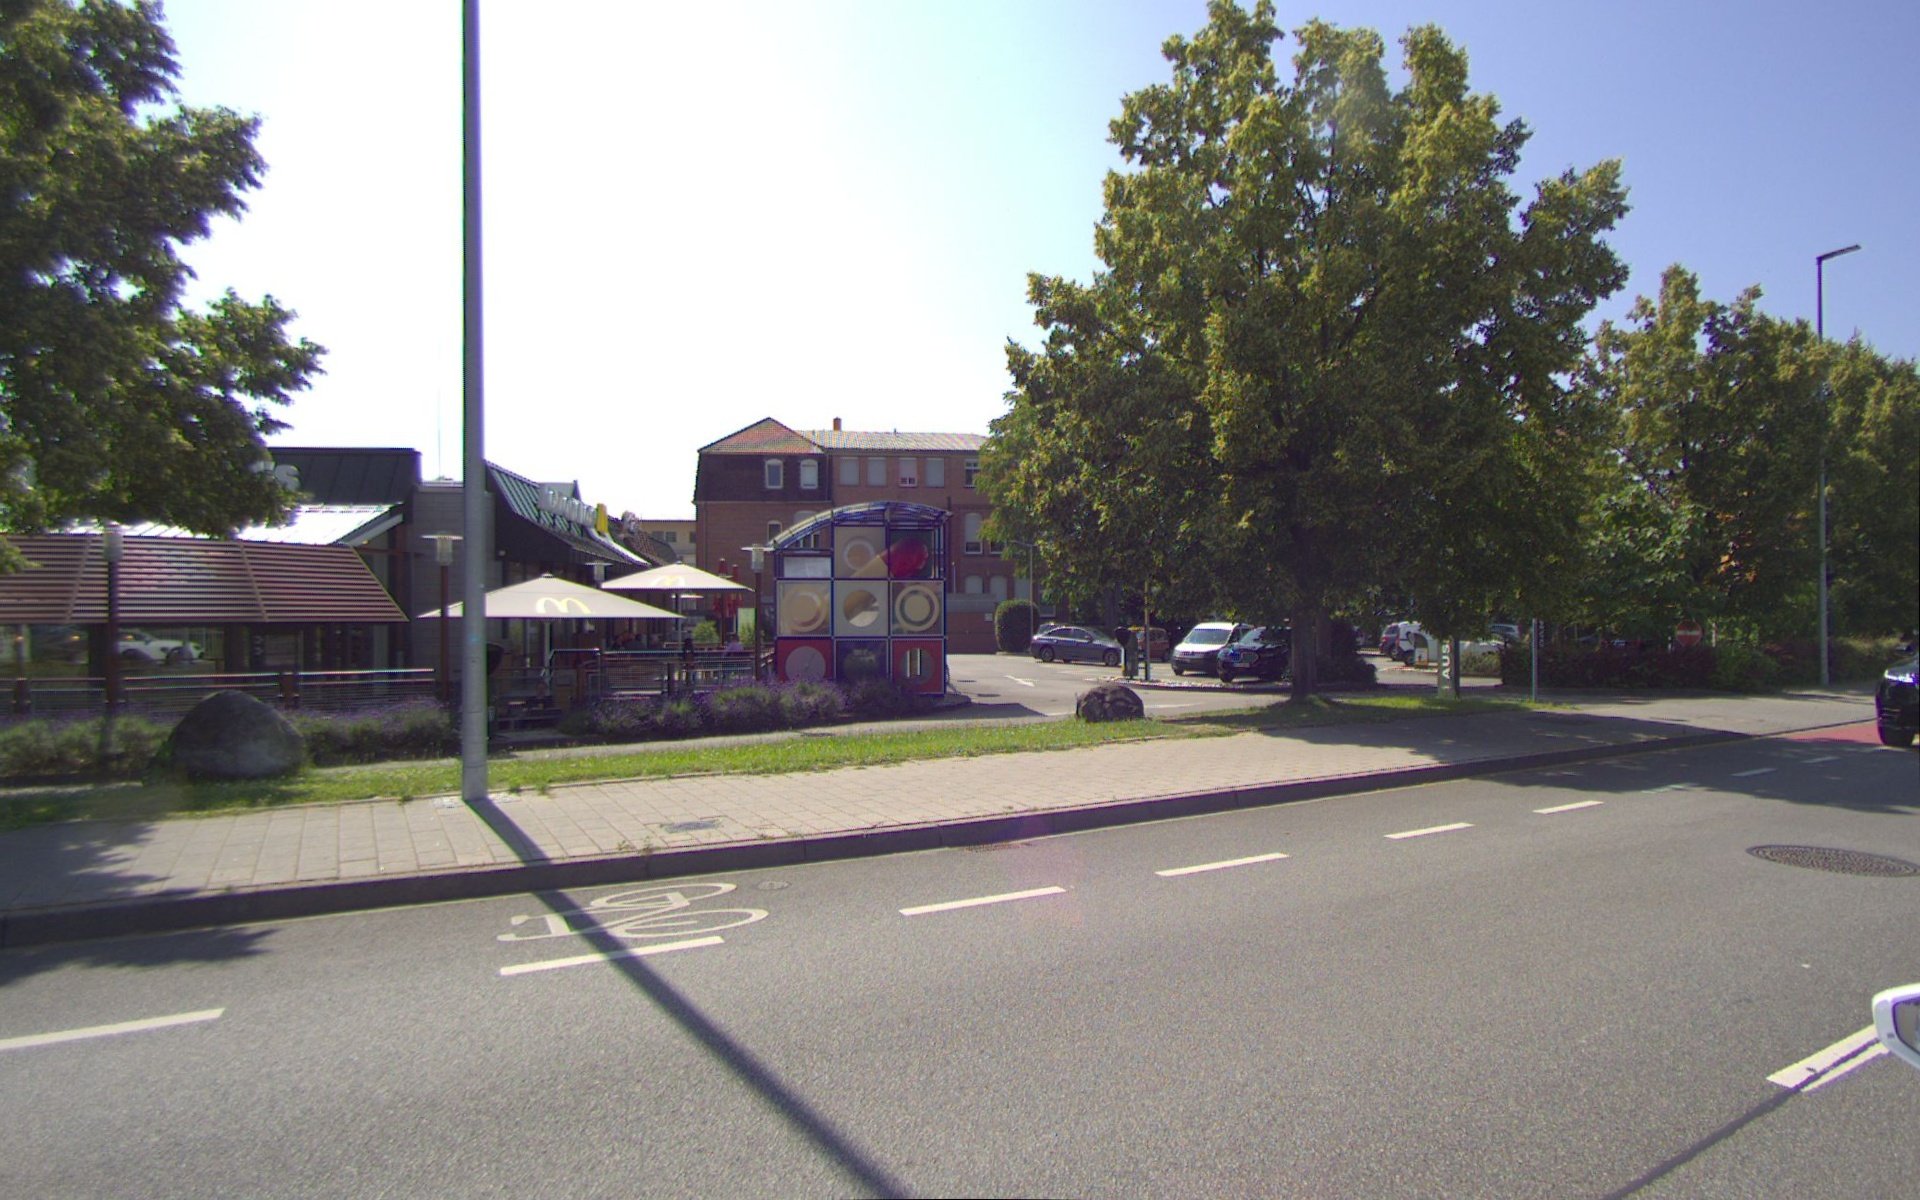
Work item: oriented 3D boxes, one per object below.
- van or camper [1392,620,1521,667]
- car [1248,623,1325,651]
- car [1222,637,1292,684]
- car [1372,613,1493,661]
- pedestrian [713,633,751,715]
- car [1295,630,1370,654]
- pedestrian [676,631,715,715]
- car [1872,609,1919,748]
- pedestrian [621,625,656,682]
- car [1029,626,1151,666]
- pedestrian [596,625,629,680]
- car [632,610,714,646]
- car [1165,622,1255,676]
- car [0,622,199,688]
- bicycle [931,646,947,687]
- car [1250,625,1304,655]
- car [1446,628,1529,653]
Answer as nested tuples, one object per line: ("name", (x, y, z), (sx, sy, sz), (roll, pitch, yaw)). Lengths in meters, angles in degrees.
("van or camper", (19.555, 1.696, 39.630), (4.219, 1.763, 1.991), (-1, -2, 39))
("car", (19.151, 2.159, 59.046), (3.946, 1.619, 1.788), (-2, -2, 44))
("car", (9.310, 1.836, 31.266), (1.578, 1.303, 3.998), (-1, -1, 24))
("car", (21.109, 1.635, 44.954), (4.666, 2.040, 2.079), (-1, -2, 33))
("pedestrian", (-5.784, 1.852, 25.456), (0.744, 2.040, 0.829), (0, -1, -30))
("car", (22.191, 2.495, 59.892), (3.932, 1.356, 1.581), (-1, -2, 33))
("pedestrian", (-6.611, 1.795, 25.106), (0.744, 2.040, 0.829), (0, -1, -30))
("car", (13.931, 0.983, 13.454), (4.575, 1.717, 1.934), (1, -2, -40))
("pedestrian", (-8.702, 1.437, 27.205), (0.744, 1.493, 0.829), (0, -1, -30))
("car", (5.037, 1.747, 39.121), (4.317, 1.458, 1.995), (-1, -2, 33))
("pedestrian", (-9.598, 1.442, 27.741), (0.744, 1.493, 0.829), (0, -1, -30))
("car", (-17.685, 1.709, 62.097), (4.720, 2.206, 1.995), (0, -1, -13))
("car", (8.647, 1.628, 34.483), (1.689, 1.758, 4.237), (-1, -2, 33))
("car", (-22.114, 1.347, 25.512), (4.134, 1.572, 1.853), (0, -1, -27))
("bicycle", (-0.571, 1.747, 26.674), (0.302, 1.005, 1.857), (0, -1, -5))
("car", (16.483, 2.055, 52.301), (1.473, 1.546, 3.431), (0, -1, -5))
("car", (32.443, 2.479, 61.824), (4.219, 1.458, 1.991), (-1, -2, 39))
